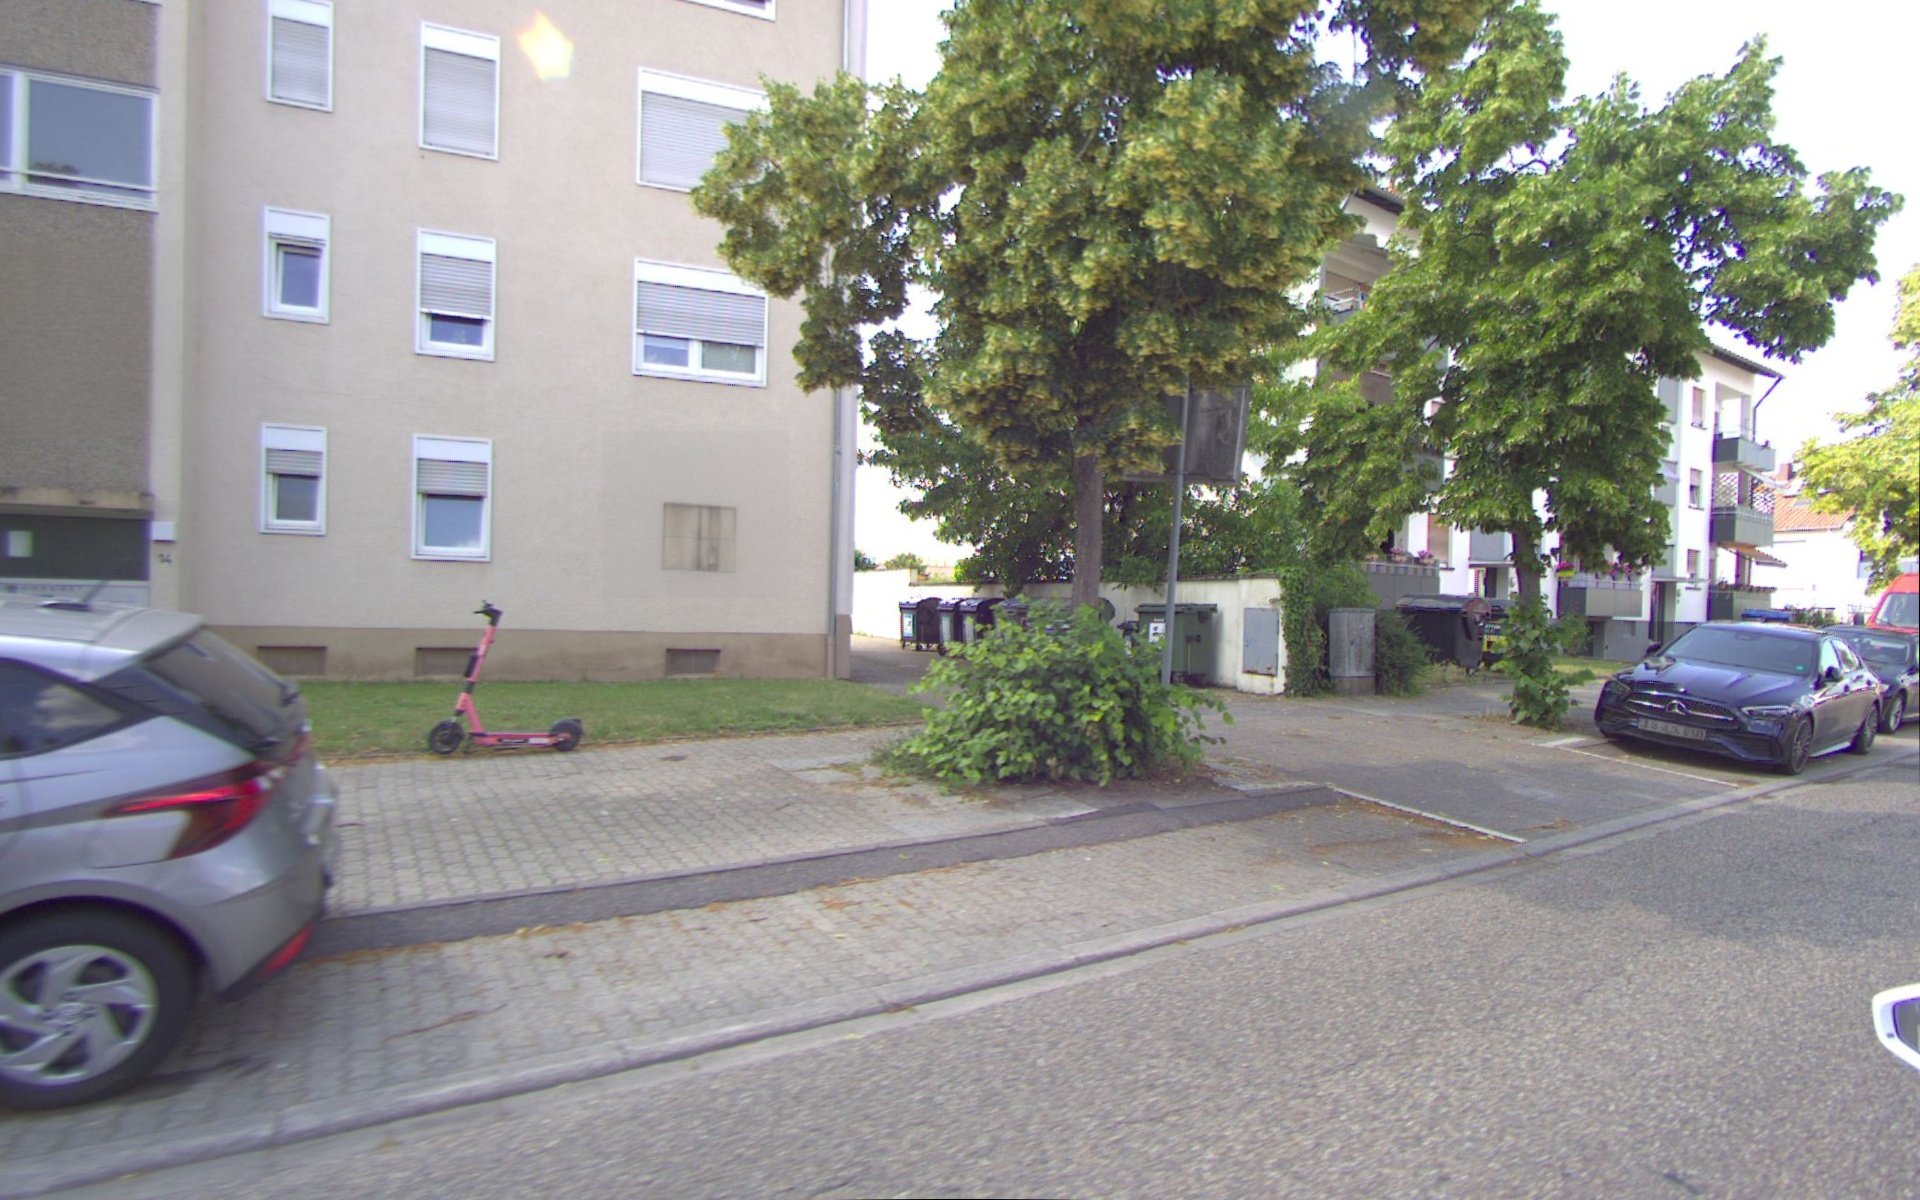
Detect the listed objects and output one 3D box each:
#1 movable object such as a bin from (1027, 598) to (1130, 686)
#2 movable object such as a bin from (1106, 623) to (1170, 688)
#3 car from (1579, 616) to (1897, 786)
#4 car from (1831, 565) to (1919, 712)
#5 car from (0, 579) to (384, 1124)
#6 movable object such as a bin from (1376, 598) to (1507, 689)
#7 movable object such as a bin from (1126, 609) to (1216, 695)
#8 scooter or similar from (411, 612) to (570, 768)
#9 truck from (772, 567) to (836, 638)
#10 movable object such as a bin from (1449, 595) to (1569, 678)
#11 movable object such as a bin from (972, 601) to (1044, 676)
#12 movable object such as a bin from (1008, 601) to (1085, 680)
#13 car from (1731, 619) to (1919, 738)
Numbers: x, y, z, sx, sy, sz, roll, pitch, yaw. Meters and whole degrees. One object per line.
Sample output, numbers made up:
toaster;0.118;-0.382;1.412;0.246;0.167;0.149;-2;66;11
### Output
movable object such as a bin;2.116;0.723;18.032;1.357;1.457;1.188;-3;1;-35
movable object such as a bin;3.040;0.938;17.171;0.865;1.038;0.623;-2;1;-23
car;9.170;1.039;11.717;4.395;1.477;1.773;2;4;-38
car;19.282;0.743;19.434;5.779;2.534;2.051;1;4;-34
car;-4.206;0.690;2.987;4.292;1.509;1.751;1;2;-30
movable object such as a bin;8.550;0.738;17.840;1.807;1.524;1.347;1;0;-33
movable object such as a bin;3.406;0.807;16.289;0.865;1.292;1.189;-2;1;-23
scooter or similar;-3.827;0.704;8.204;1.127;1.181;0.417;1;1;-31
truck;-6.400;0.142;40.771;1.967;2.656;5.218;1;-1;-15
movable object such as a bin;10.687;0.690;19.546;1.807;1.524;1.347;1;0;-33
movable object such as a bin;0.993;0.781;20.901;0.919;1.457;1.237;-3;1;-31
movable object such as a bin;1.691;0.781;19.785;0.919;1.457;1.237;-3;1;-31
car;14.146;1.159;15.806;4.389;1.477;1.776;2;4;-34
